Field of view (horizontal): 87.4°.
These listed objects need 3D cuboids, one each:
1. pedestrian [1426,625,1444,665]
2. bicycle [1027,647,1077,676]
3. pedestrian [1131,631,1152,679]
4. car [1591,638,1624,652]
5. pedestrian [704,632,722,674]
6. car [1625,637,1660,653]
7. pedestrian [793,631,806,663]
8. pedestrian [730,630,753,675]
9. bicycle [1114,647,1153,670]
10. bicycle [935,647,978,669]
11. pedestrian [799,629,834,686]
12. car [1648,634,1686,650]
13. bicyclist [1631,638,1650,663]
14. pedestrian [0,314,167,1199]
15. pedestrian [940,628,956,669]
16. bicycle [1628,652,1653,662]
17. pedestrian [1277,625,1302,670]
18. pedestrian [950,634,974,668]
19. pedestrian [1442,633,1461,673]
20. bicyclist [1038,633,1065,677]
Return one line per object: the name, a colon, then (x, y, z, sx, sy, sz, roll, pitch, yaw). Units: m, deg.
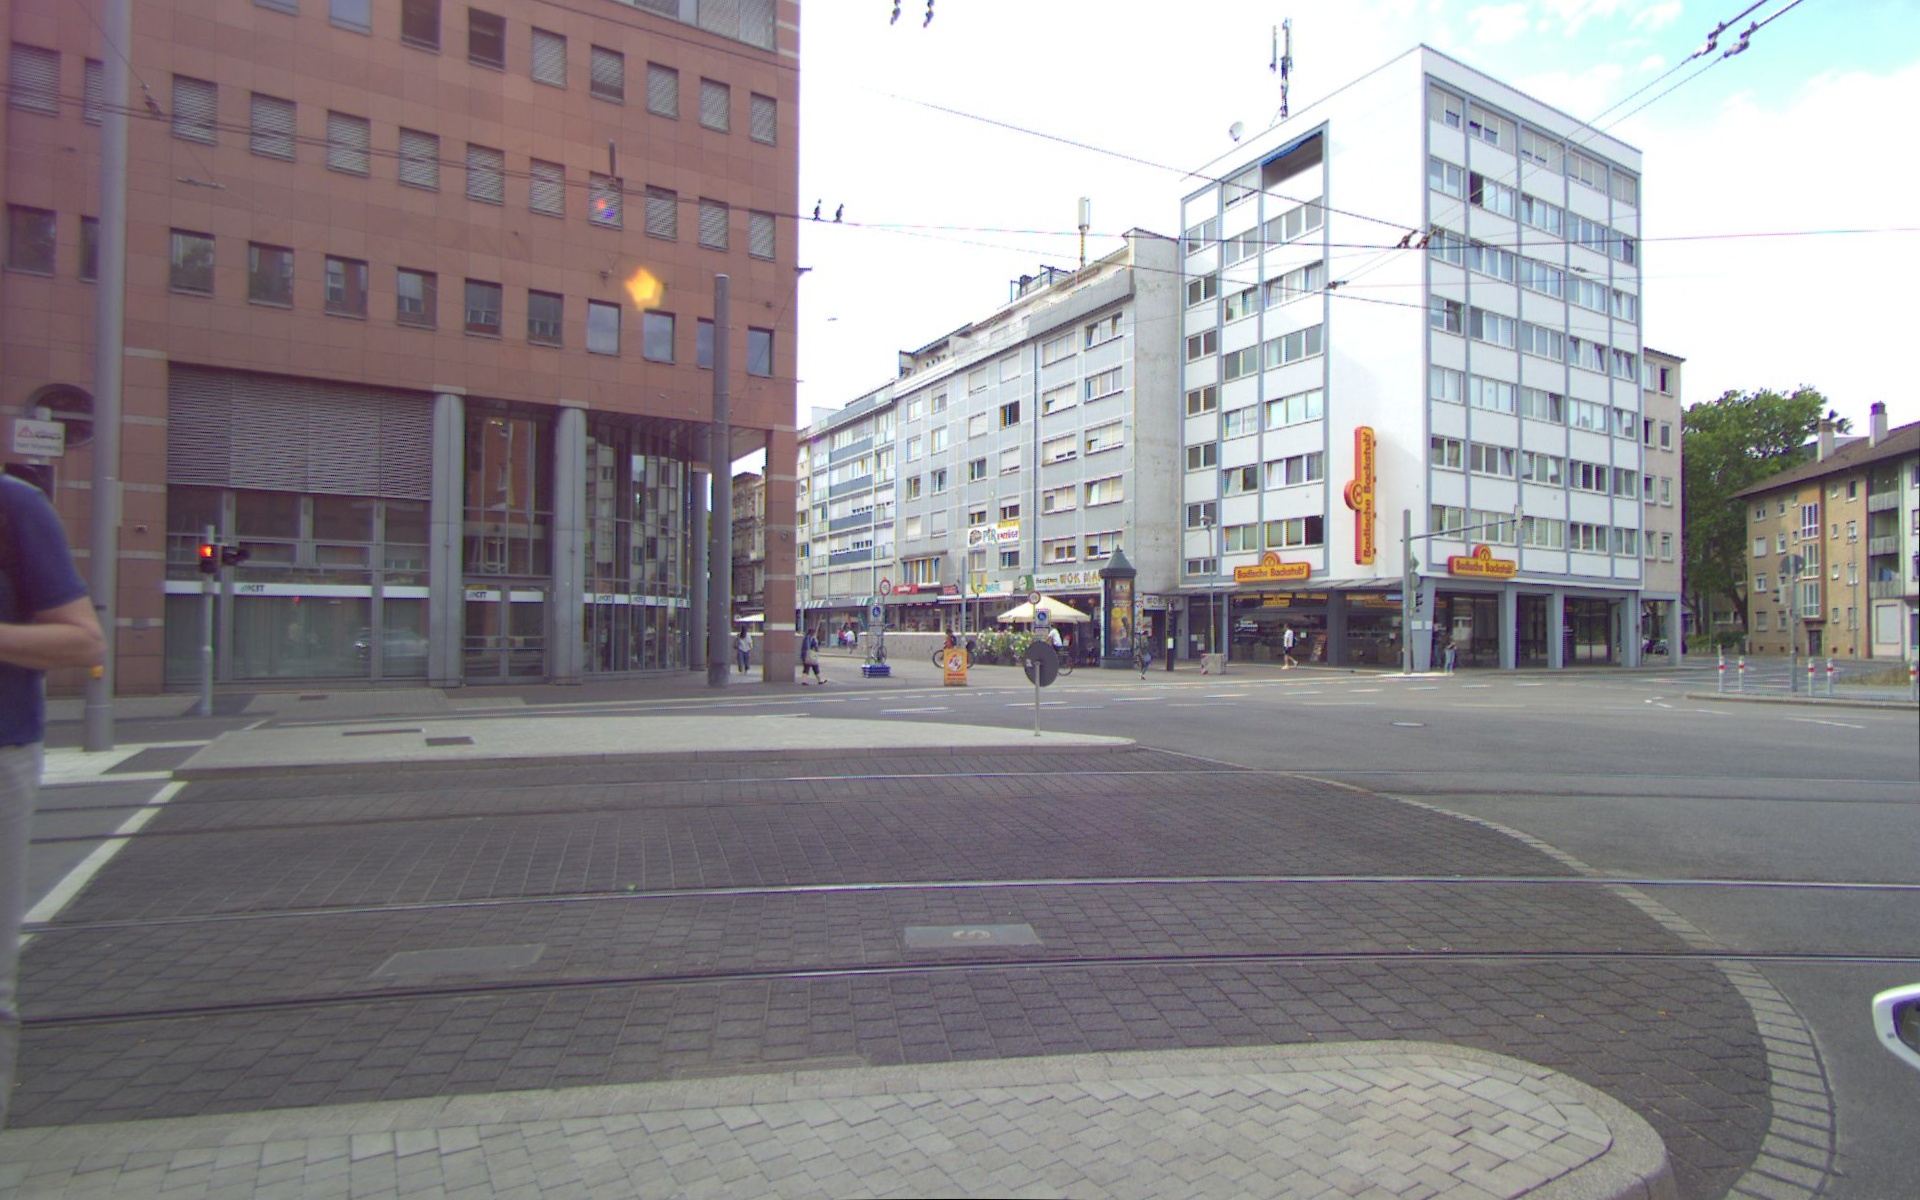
pedestrian: (21.071, 1.994, 44.592, 0.582, 1.788, 0.473, 1, -1, -31)
bicycle: (3.355, 2.235, 36.582, 1.753, 1.002, 0.473, 0, -2, 20)
pedestrian: (6.179, 1.870, 34.165, 0.647, 1.615, 0.689, 0, -1, 17)
car: (70.108, 4.860, 108.820, 1.647, 1.412, 4.464, 1, -2, 14)
pedestrian: (-9.969, 2.127, 40.529, 0.574, 1.685, 0.517, 1, -2, -30)
car: (67.551, 4.417, 99.449, 1.629, 1.441, 3.949, 0, -1, 14)
pedestrian: (-8.010, 2.335, 50.069, 0.514, 1.598, 0.503, 1, -2, -28)
pedestrian: (-7.256, 1.736, 33.411, 0.574, 1.492, 0.650, 1, -2, -30)
bicycle: (7.914, 2.676, 45.879, 1.759, 1.002, 0.472, -1, -2, 35)
bicycle: (-0.139, 2.424, 42.331, 1.753, 0.899, 0.473, 0, -2, 20)
pedestrian: (-3.822, 1.515, 26.680, 0.676, 1.492, 0.793, 1, -2, -30)
car: (66.315, 3.892, 94.233, 1.629, 1.441, 3.868, 0, -1, 14)
bicyclist: (44.845, 3.323, 66.212, 1.024, 1.667, 0.605, 1, -2, -28)
pedestrian: (-2.221, 0.409, 2.057, 0.797, 1.900, 0.688, 1, -2, -30)
pedestrian: (-0.479, 1.985, 41.245, 0.458, 1.663, 0.633, 0, -1, 21)
bicycle: (44.985, 3.764, 66.365, 1.973, 0.596, 0.482, 1, -2, -28)
pedestrian: (13.980, 2.011, 42.626, 0.574, 1.883, 0.857, 1, -2, -31)
pedestrian: (0.075, 2.149, 42.322, 0.847, 1.393, 0.633, 0, -2, 18)
pedestrian: (19.402, 2.094, 39.649, 0.512, 1.580, 0.496, 1, -2, -30)
bicyclist: (3.330, 1.984, 36.490, 0.866, 1.590, 0.547, 0, -2, 20)
